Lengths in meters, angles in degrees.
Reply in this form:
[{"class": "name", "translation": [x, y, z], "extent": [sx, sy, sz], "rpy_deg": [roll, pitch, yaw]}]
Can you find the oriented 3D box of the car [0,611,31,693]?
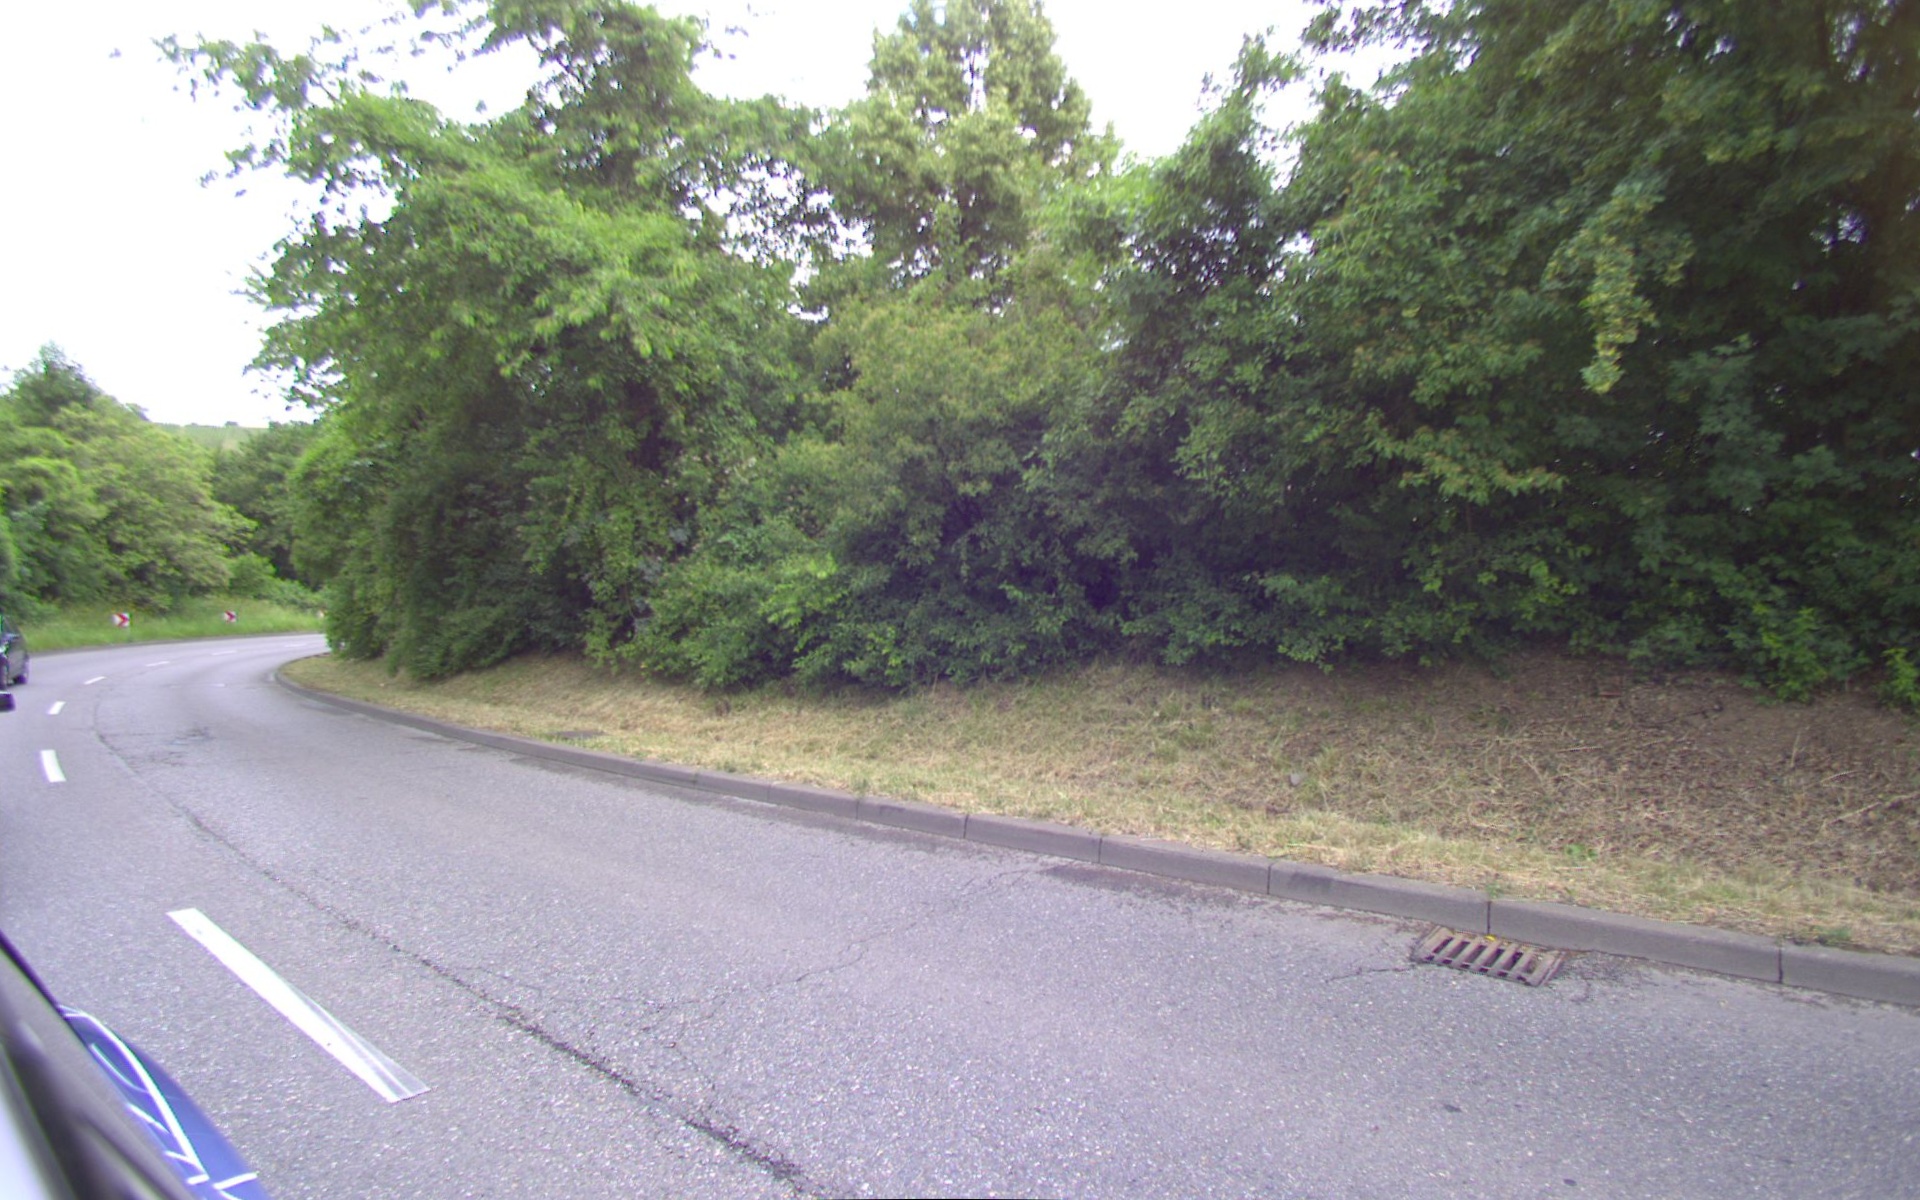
[{"class": "car", "translation": [-20.613, 1.031, 20.911], "extent": [1.529, 1.657, 3.749], "rpy_deg": [3, -3, -35]}]
